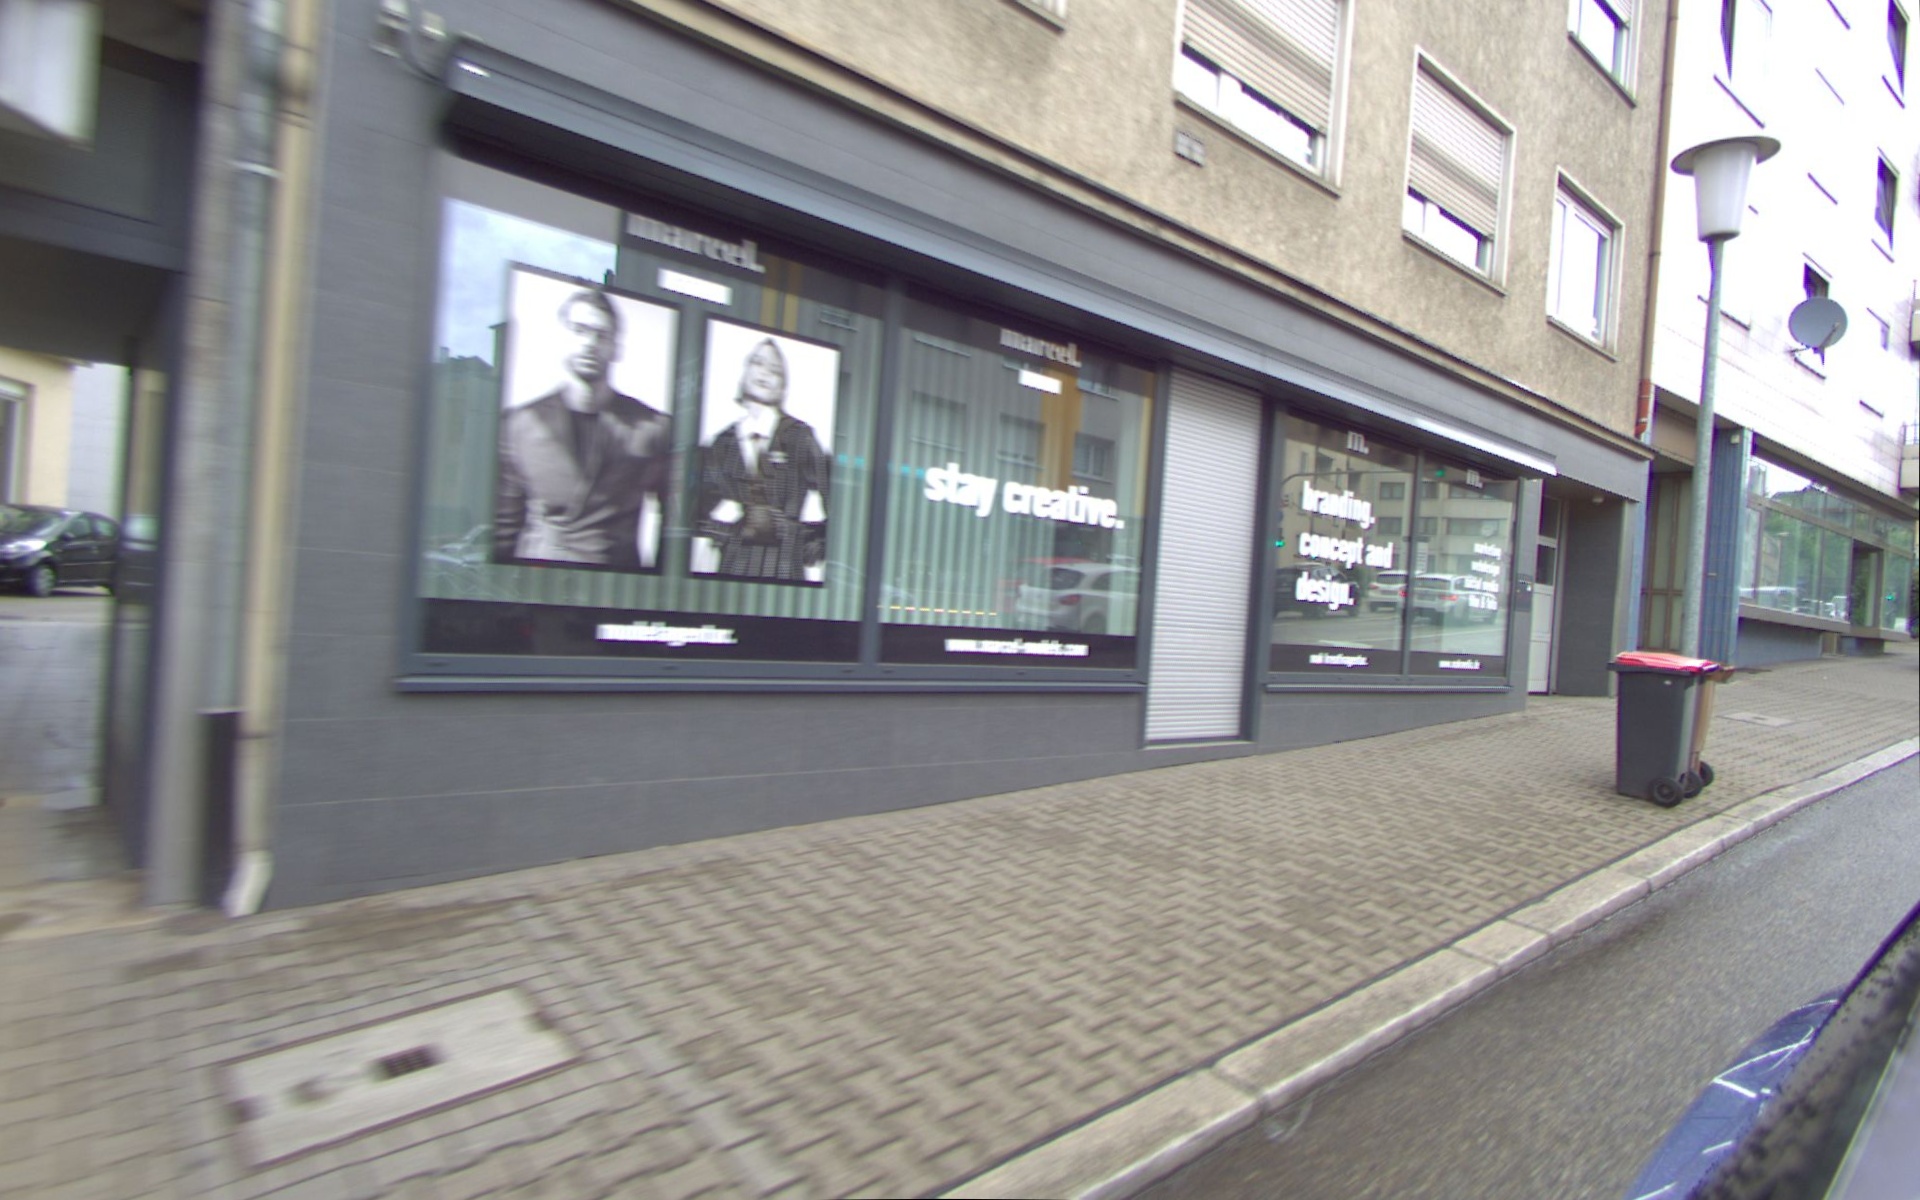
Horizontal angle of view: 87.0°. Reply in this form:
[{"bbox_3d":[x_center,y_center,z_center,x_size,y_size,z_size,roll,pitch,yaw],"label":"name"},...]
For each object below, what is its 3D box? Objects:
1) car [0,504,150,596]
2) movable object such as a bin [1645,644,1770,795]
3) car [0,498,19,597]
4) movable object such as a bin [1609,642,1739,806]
[{"bbox_3d":[-15.496,-0.827,16.877,1.705,1.353,3.663,5,-1,-15],"label":"car"},{"bbox_3d":[5.190,0.816,7.031,0.527,0.962,0.526,5,-2,-36],"label":"movable object such as a bin"},{"bbox_3d":[-14.350,-0.808,12.751,1.705,1.438,4.410,5,-1,-15],"label":"car"},{"bbox_3d":[4.732,0.807,6.712,0.527,0.993,0.526,5,-2,-36],"label":"movable object such as a bin"}]
